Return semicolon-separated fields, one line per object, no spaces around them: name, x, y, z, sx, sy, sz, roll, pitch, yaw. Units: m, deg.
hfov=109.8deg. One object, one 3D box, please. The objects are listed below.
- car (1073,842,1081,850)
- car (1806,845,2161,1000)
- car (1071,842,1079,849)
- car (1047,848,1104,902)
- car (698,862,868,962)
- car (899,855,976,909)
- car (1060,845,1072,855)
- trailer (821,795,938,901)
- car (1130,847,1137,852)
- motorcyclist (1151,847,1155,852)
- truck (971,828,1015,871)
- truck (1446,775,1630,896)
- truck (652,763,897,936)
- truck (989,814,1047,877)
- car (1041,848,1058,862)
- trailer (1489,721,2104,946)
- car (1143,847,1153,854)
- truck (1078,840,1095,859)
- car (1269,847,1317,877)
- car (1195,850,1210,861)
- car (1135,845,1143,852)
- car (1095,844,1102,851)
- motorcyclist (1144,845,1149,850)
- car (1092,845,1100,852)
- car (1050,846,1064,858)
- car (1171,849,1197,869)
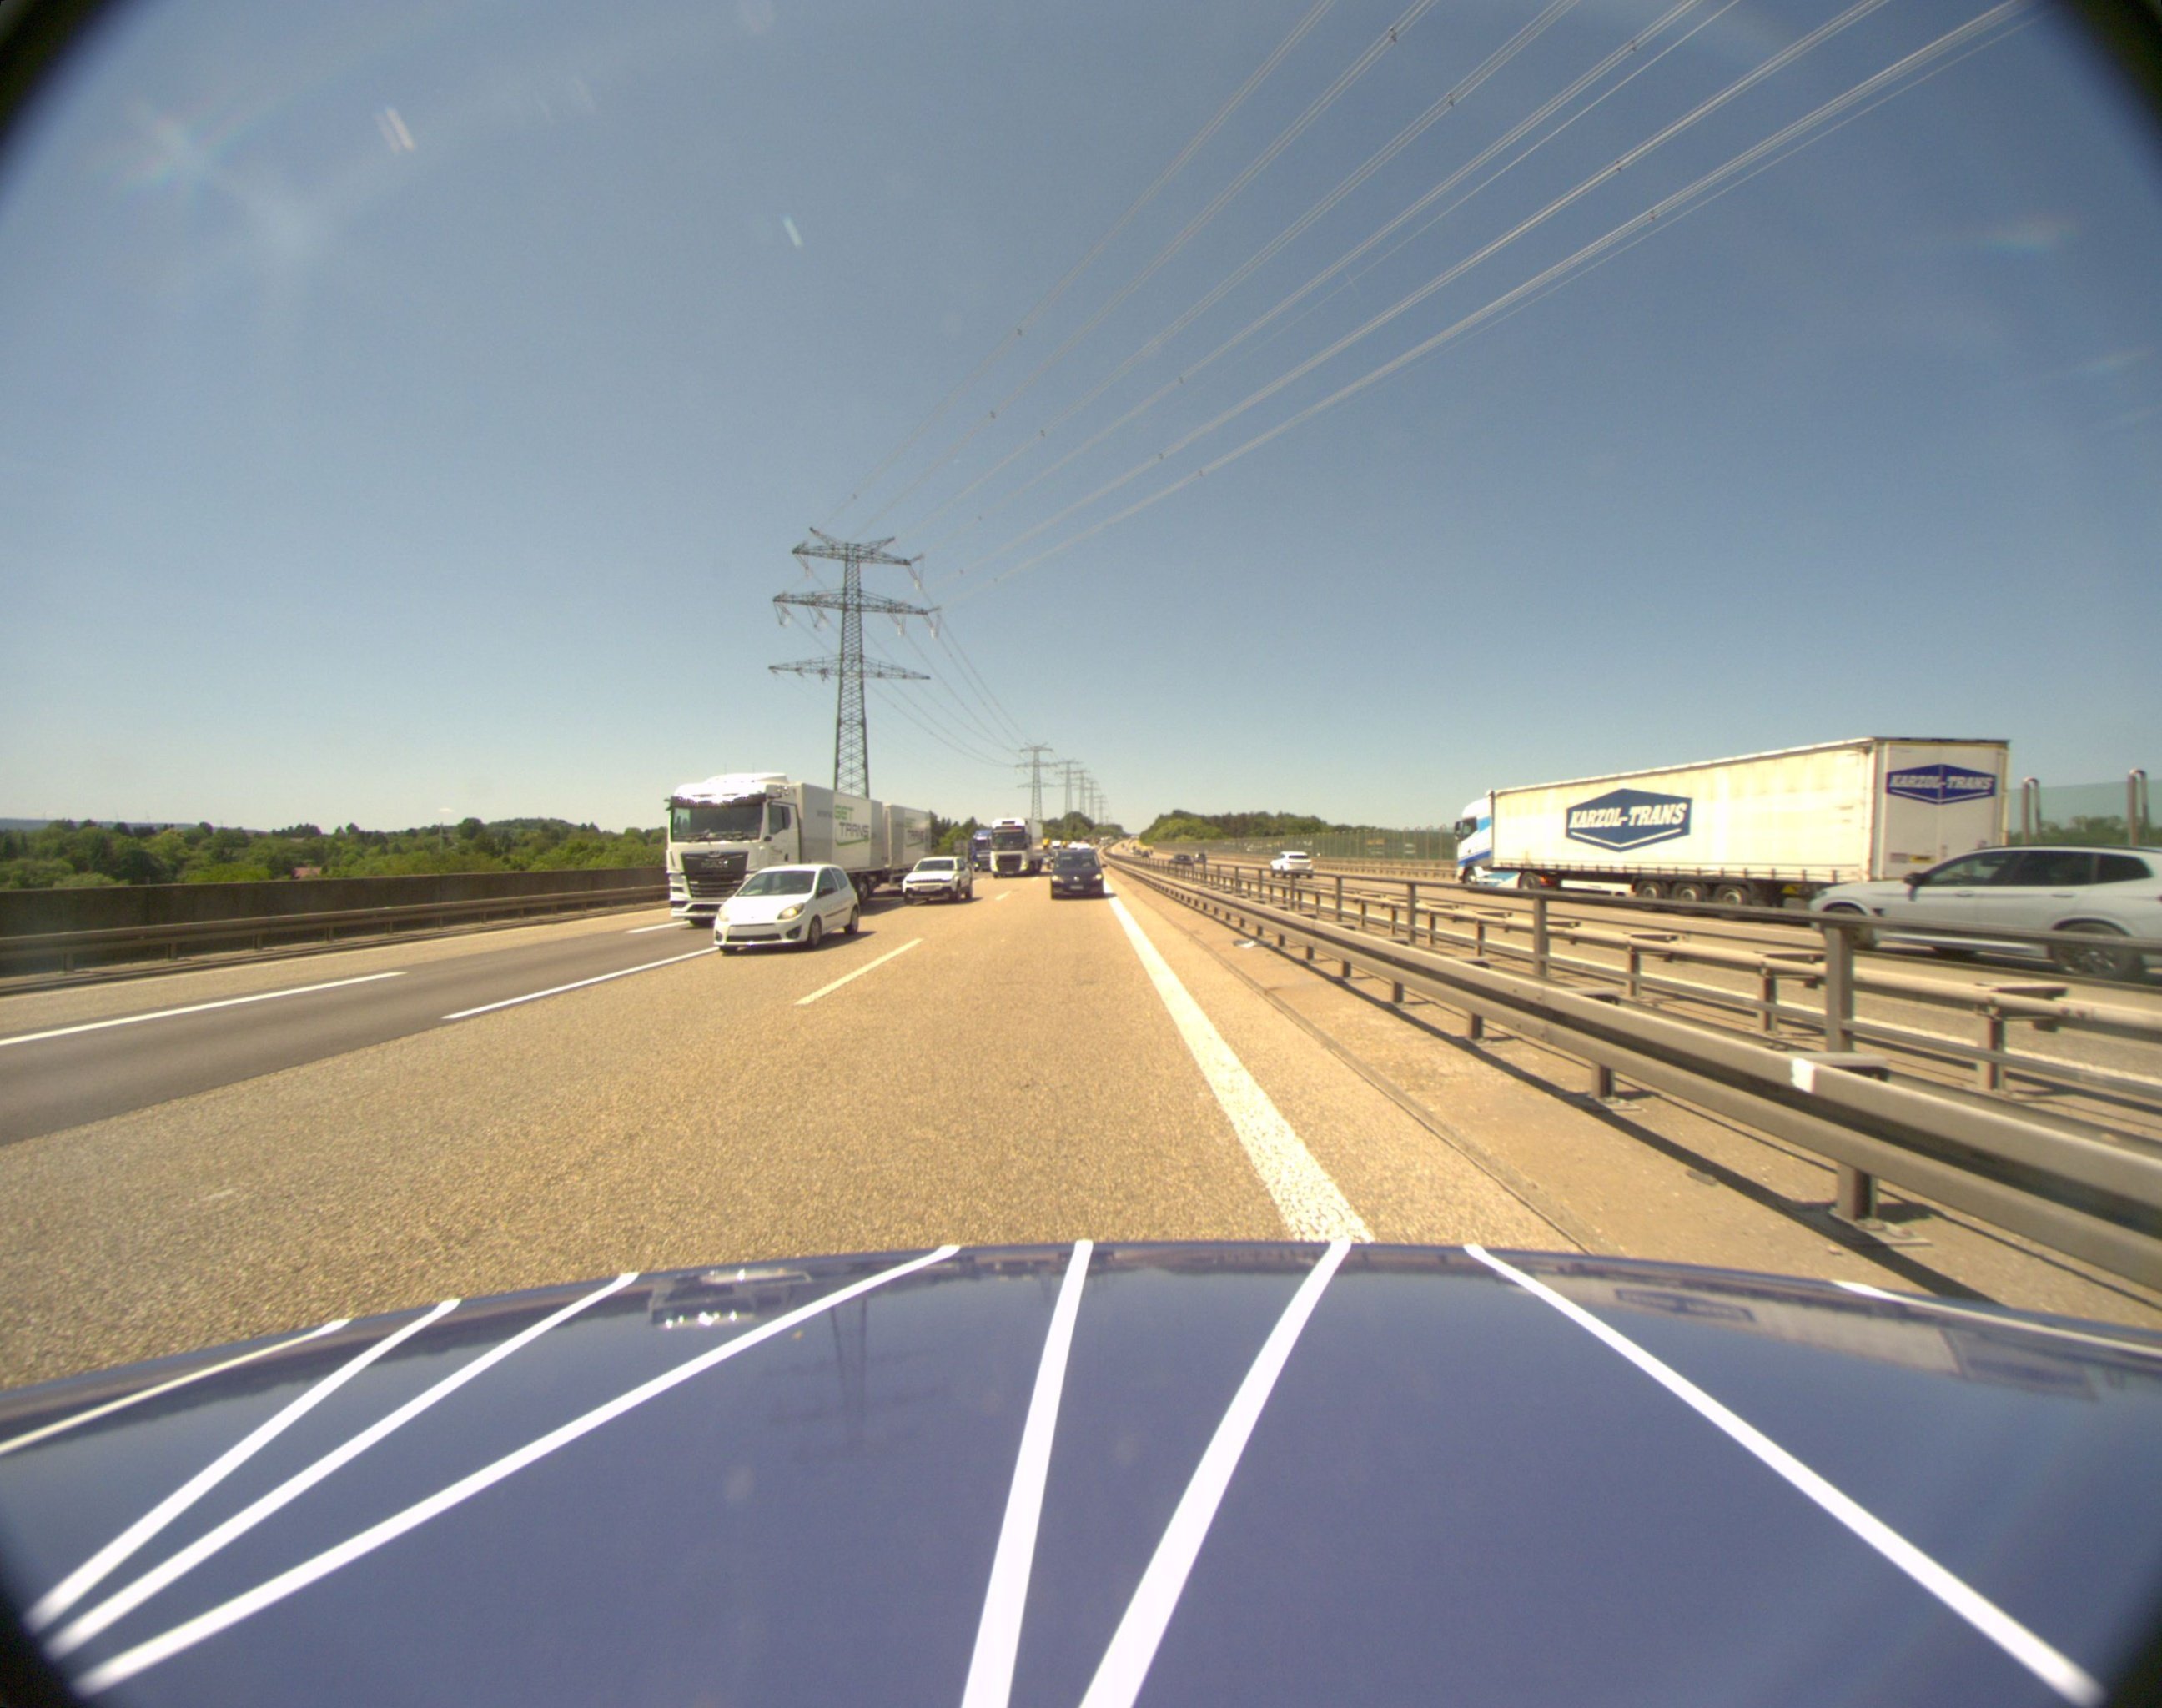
car;-0.962;-2.032;201.515;1.998;2.002;3.999;-2;1;0
car;12.769;0.730;10.098;1.875;1.616;4.628;-1;1;1
car;-1.716;-2.423;221.930;1.998;2.002;3.999;-2;1;0
car;-0.133;0.658;26.244;1.748;1.569;3.999;-2;1;1
car;-5.368;0.962;14.237;1.660;1.501;3.825;-2;0;-1
car;-4.754;0.881;25.707;1.776;1.521;3.851;-2;1;1
car;-2.563;-0.713;130.579;1.821;1.569;3.999;-2;1;0
trailer;-8.395;-0.267;32.802;2.752;3.918;7.772;-2;1;0
car;16.489;-1.417;238.883;1.735;1.481;4.123;-2;1;0
motorcyclist;20.286;-1.207;214.465;0.921;1.276;1.286;-2;1;0
truck;-8.588;-0.544;75.496;2.841;3.858;11.271;-2;1;0
truck;17.255;-0.707;29.183;4.016;4.204;4.857;1;1;0
truck;-8.457;-0.165;23.241;2.695;3.908;11.295;-2;1;0
truck;-4.416;-0.604;56.320;2.718;4.015;14.254;-2;1;1
car;-3.914;0.098;94.069;1.821;1.569;3.999;-2;1;0
trailer;17.229;-0.528;21.340;3.999;4.211;14.036;0;1;0
car;14.784;-0.786;168.387;1.765;1.312;4.269;-3;1;0
truck;0.860;-0.687;116.092;2.310;2.789;5.109;-2;1;1
car;13.097;0.450;47.115;1.753;1.686;4.384;0;1;1
car;17.285;0.208;108.316;1.656;1.454;3.541;0;1;0
car;15.772;-1.499;205.913;1.786;1.692;4.153;0;1;0
car;4.783;-1.748;205.879;1.821;1.569;3.999;-2;1;0
motorcyclist;20.906;-2.095;242.178;1.379;1.675;1.133;-2;2;-1
car;3.742;-1.421;191.479;1.821;1.569;3.999;-2;1;0
car;-3.429;-0.254;110.120;1.821;1.569;3.999;-2;1;0
car;9.256;0.419;68.384;1.796;1.564;3.999;-2;1;1
